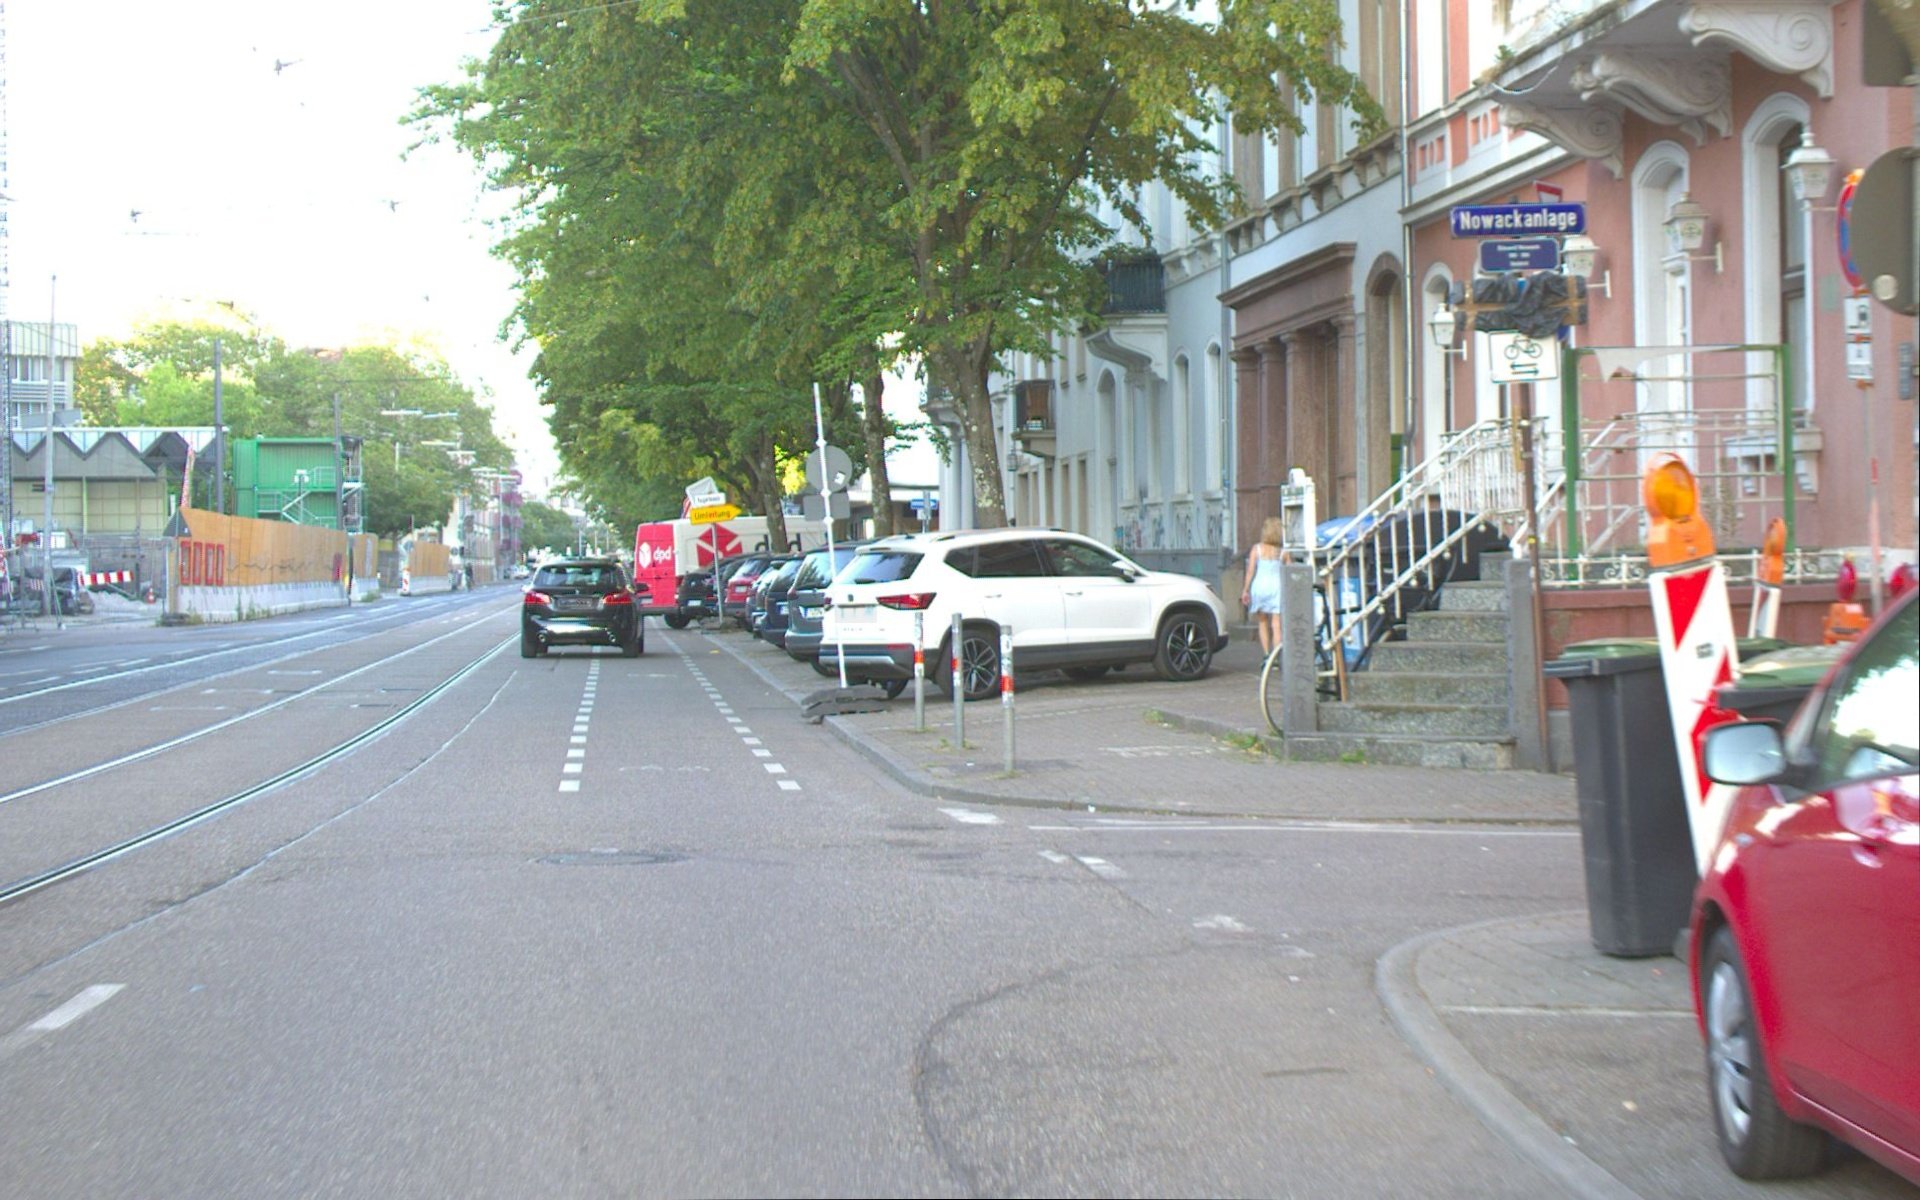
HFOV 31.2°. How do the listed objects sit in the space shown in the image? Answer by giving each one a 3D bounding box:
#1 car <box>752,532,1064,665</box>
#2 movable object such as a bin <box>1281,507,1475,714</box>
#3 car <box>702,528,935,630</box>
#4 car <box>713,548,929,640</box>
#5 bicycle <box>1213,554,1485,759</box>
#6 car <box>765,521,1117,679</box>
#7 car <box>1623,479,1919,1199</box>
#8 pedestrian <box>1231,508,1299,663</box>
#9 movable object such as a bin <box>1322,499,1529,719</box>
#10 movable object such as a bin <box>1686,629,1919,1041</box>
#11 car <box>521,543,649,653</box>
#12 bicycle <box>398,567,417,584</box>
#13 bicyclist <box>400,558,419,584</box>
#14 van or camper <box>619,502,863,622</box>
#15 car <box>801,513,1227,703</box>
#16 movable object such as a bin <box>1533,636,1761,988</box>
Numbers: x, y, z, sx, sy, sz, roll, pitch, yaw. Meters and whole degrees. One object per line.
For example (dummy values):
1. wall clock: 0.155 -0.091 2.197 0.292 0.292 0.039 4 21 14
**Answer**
1. car: -0.702 -0.024 47.916 3.943 1.598 1.840 -4 1 -37
2. movable object such as a bin: 3.091 0.063 25.567 1.140 1.497 1.399 0 1 -6
3. car: -2.660 -0.403 64.994 3.943 1.598 1.840 -5 1 -37
4. car: -2.848 -0.125 70.589 3.942 1.598 1.840 -5 1 -32
5. bicycle: 2.561 0.347 22.520 1.913 1.262 0.601 -2 1 -40
6. car: -0.197 -0.014 41.778 3.944 1.663 1.900 -4 1 -42
7. car: 2.483 0.509 6.678 1.564 1.531 3.693 -2 1 -1
8. pedestrian: 3.179 -0.154 35.855 0.586 1.604 0.625 0 1 -5
9. movable object such as a bin: 3.246 0.048 24.114 1.140 1.497 1.399 0 1 -6
10. movable object such as a bin: 2.630 0.674 10.239 0.715 1.149 0.622 0 1 37
11. car: -5.901 -0.053 54.166 1.881 1.614 4.001 2 1 -6
12. bicycle: -29.401 -1.296 182.822 0.947 0.846 2.697 -1 1 -8
13. bicyclist: -29.152 -1.551 182.037 0.944 1.341 1.112 -1 0 -8
14. van or camper: -5.199 -0.927 82.294 5.534 2.522 2.086 -5 1 -40
15. car: 0.566 0.044 34.004 3.943 1.621 1.674 -4 3 -36
16. movable object such as a bin: 2.336 0.708 11.744 0.712 1.149 0.588 0 1 7
